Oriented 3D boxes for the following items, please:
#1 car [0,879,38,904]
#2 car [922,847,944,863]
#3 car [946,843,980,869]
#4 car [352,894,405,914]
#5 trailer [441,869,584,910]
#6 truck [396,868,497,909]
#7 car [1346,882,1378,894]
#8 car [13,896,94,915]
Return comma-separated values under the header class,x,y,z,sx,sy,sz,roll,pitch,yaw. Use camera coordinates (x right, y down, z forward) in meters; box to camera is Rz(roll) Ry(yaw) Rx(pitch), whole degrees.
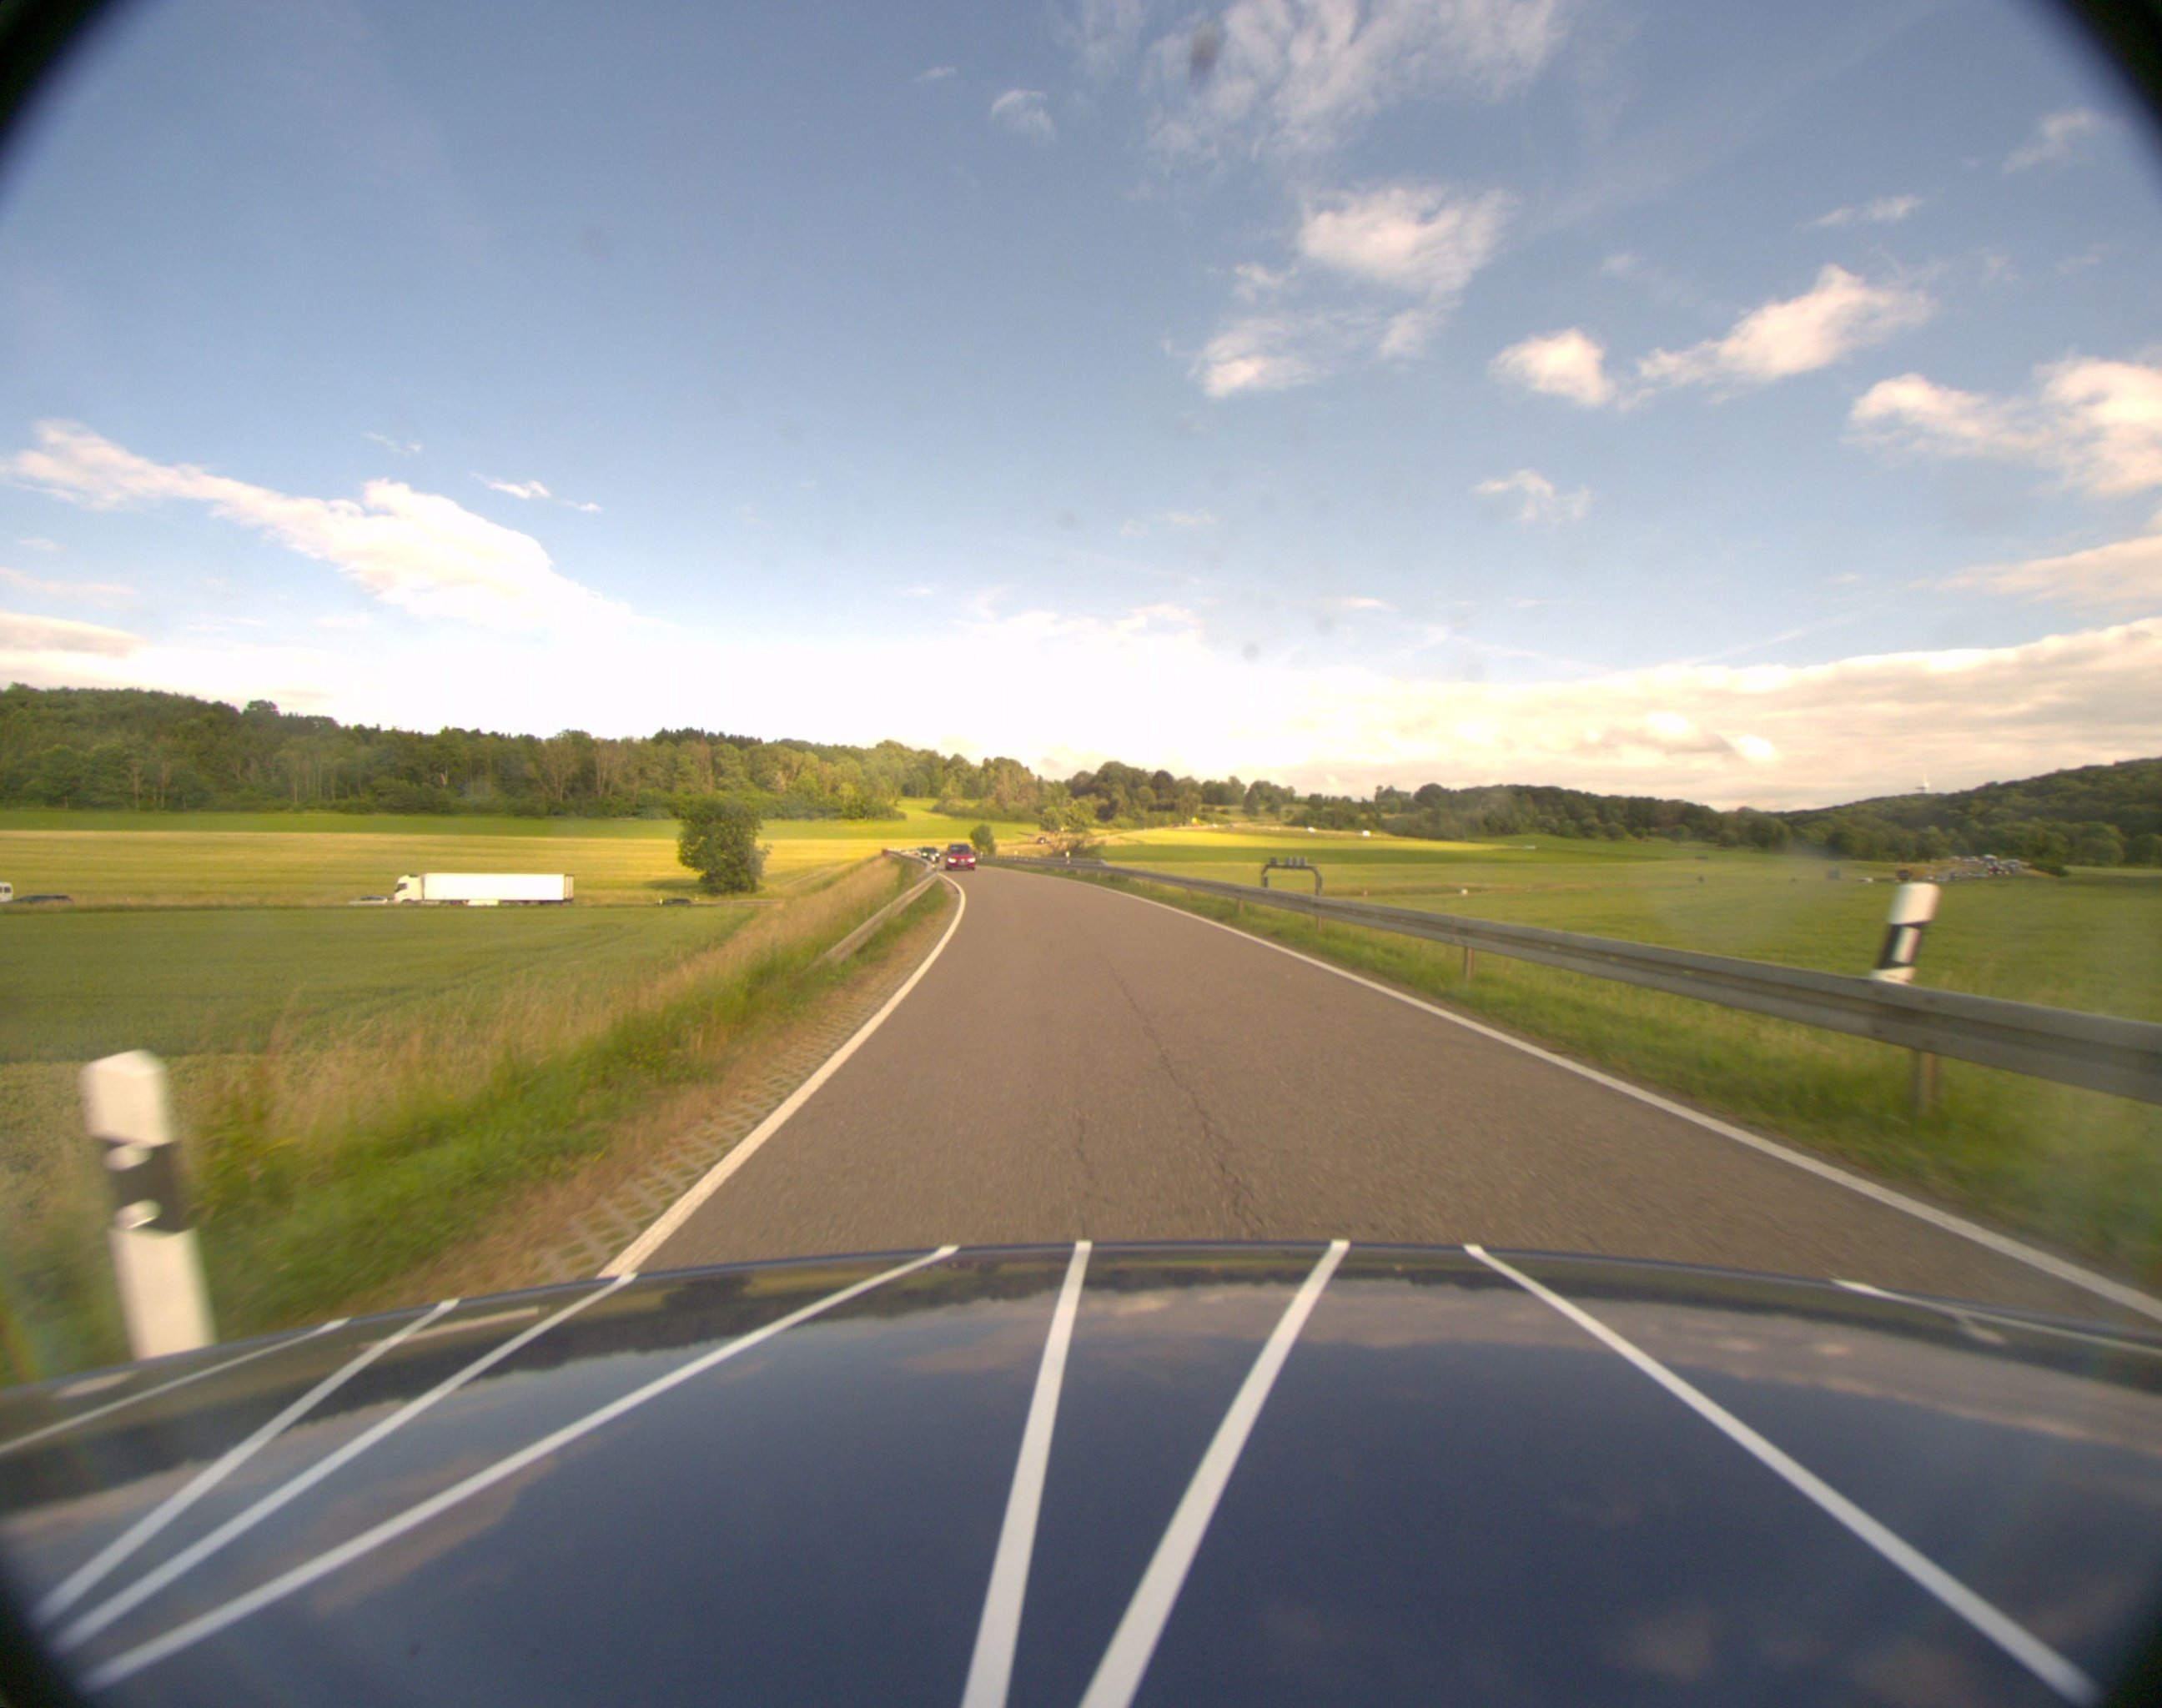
class,x,y,z,sx,sy,sz,roll,pitch,yaw
car,-110.571,3.754,76.639,6.126,2.568,2.372,2,-4,-13
car,-15.306,0.064,78.487,1.824,1.602,3.994,1,0,-17
car,-7.978,0.109,51.190,1.823,1.645,3.994,-3,1,-15
car,-72.649,5.170,78.650,3.468,1.634,1.759,-2,5,-14
trailer,-64.613,4.054,86.753,12.733,4.441,3.029,1,-2,-14
truck,-71.031,3.874,85.195,8.060,4.441,3.027,1,-2,-14
car,39.543,4.788,106.936,4.004,1.641,1.825,1,2,-20
car,-98.121,4.920,72.628,4.376,1.692,1.775,1,2,-15
